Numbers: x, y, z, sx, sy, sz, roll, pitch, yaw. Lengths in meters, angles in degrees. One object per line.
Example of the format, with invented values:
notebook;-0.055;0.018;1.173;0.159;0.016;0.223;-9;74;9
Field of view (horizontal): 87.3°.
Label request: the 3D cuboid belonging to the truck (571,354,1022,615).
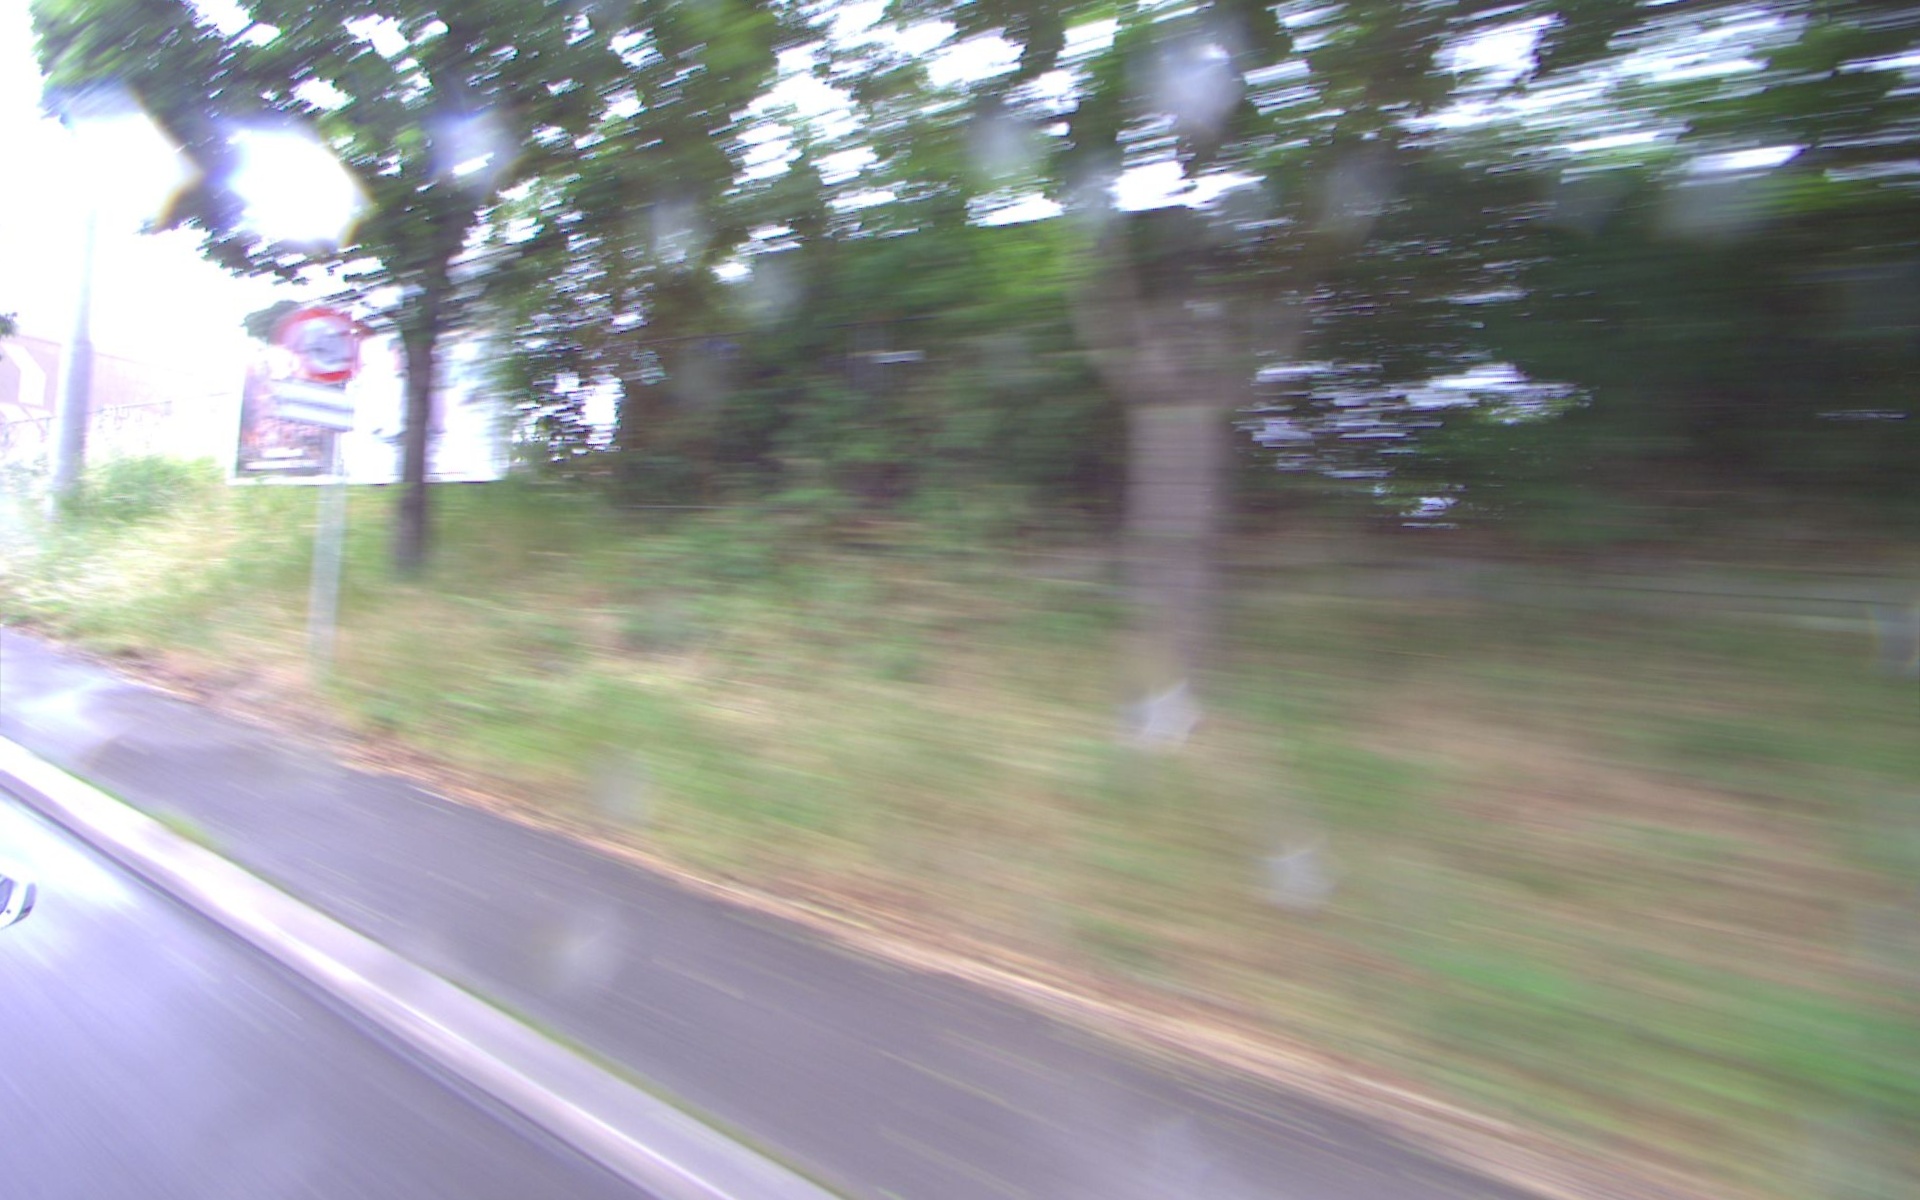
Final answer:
truck;-2.427;-1.480;14.141;5.956;2.674;2.293;4;-8;33
